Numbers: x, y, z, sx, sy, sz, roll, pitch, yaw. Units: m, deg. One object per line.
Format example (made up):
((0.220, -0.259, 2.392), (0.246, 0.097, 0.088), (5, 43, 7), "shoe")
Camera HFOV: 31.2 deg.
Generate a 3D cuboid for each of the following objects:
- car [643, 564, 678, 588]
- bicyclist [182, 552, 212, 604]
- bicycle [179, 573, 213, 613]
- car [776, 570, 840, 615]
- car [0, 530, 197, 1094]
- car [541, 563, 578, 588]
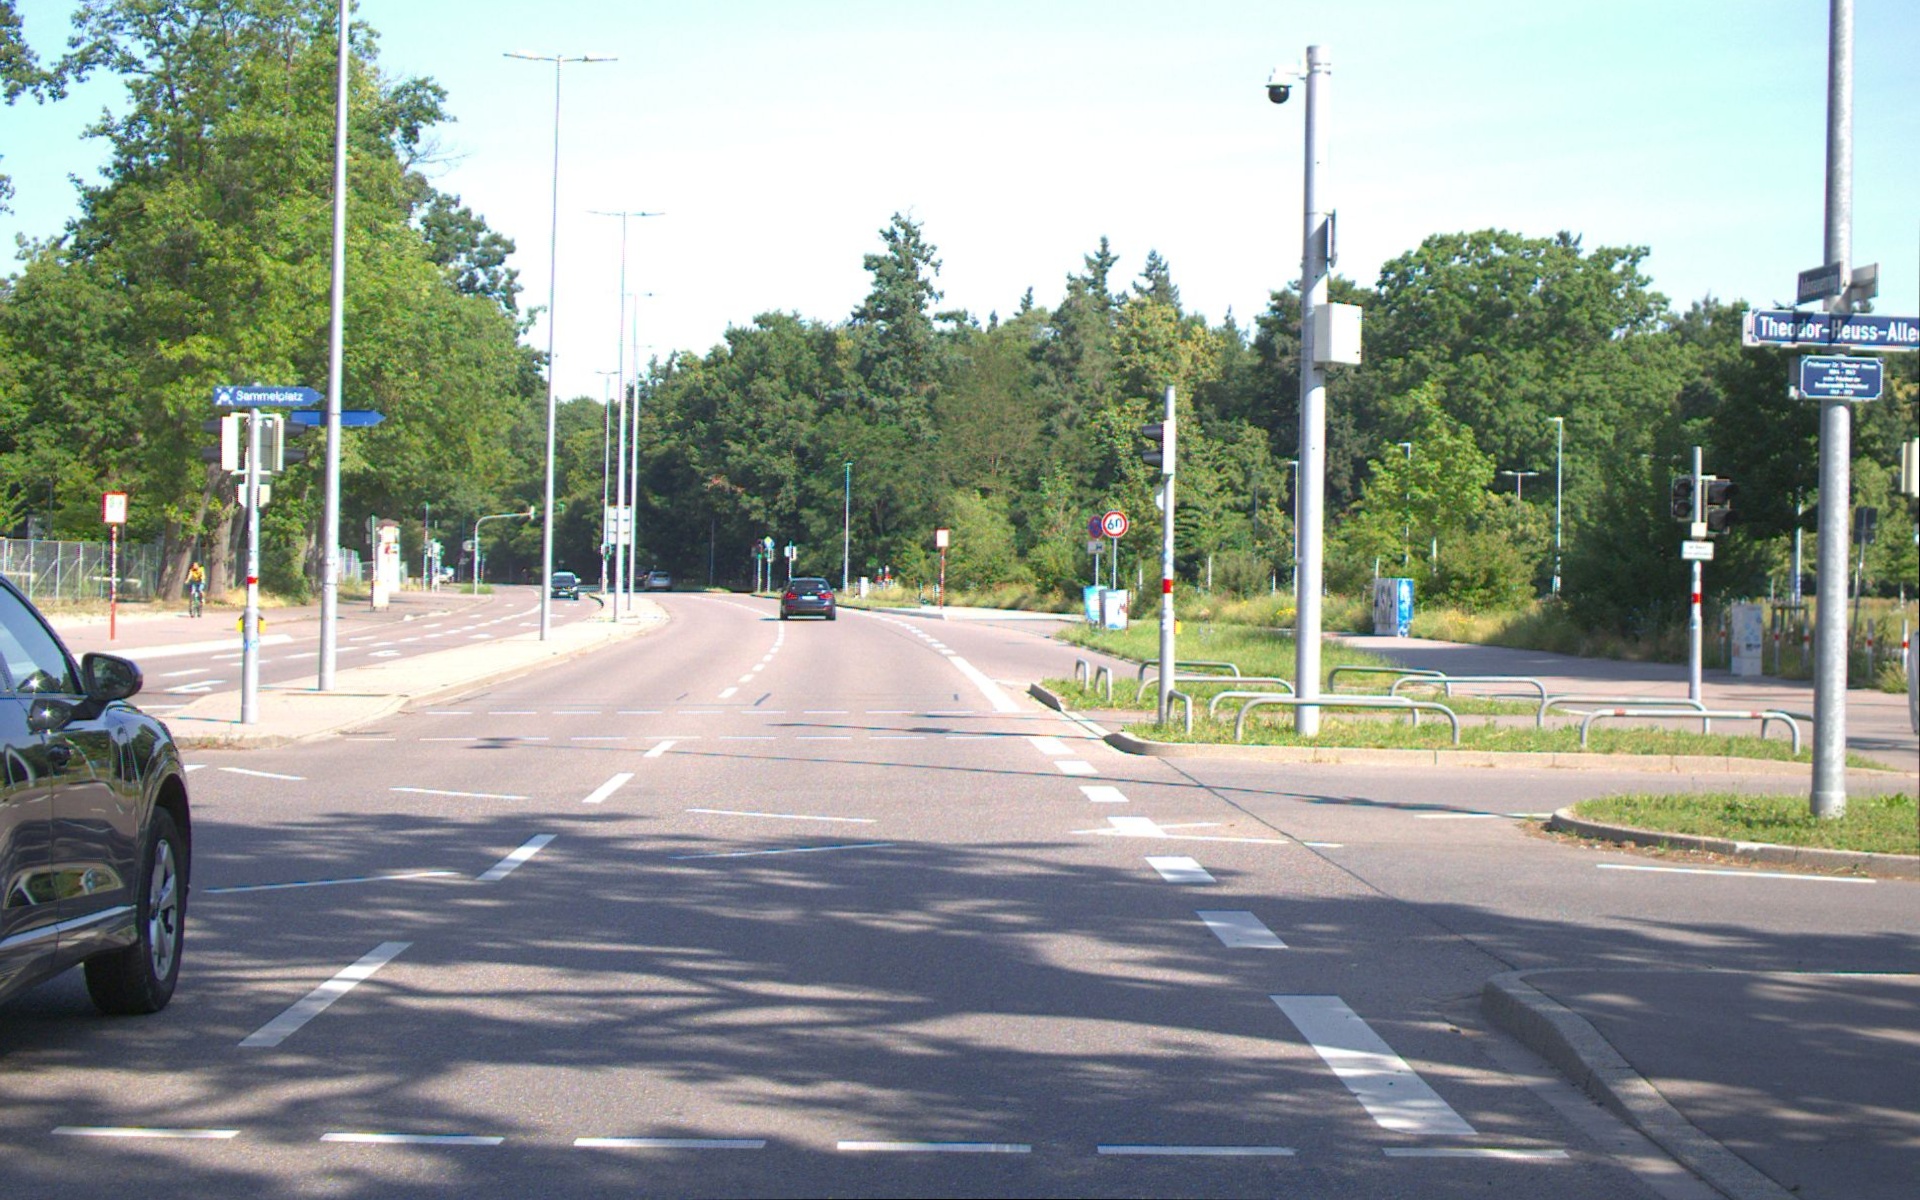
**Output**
((-22.322, -1.812, 255.848), (1.993, 1.744, 4.001), (1, 0, -14), "car")
((-22.172, -0.639, 99.895), (0.659, 1.462, 1.057), (2, 0, -4), "bicyclist")
((-22.213, -0.204, 99.992), (0.659, 1.132, 1.879), (2, 0, -4), "bicycle")
((-5.102, -0.272, 114.805), (1.940, 1.415, 4.293), (1, 1, -5), "car")
((-3.469, 0.570, 9.889), (1.687, 1.539, 4.149), (0, 1, -1), "car")
((-22.736, -1.394, 195.075), (1.810, 1.383, 4.163), (-1, 1, -10), "car")
